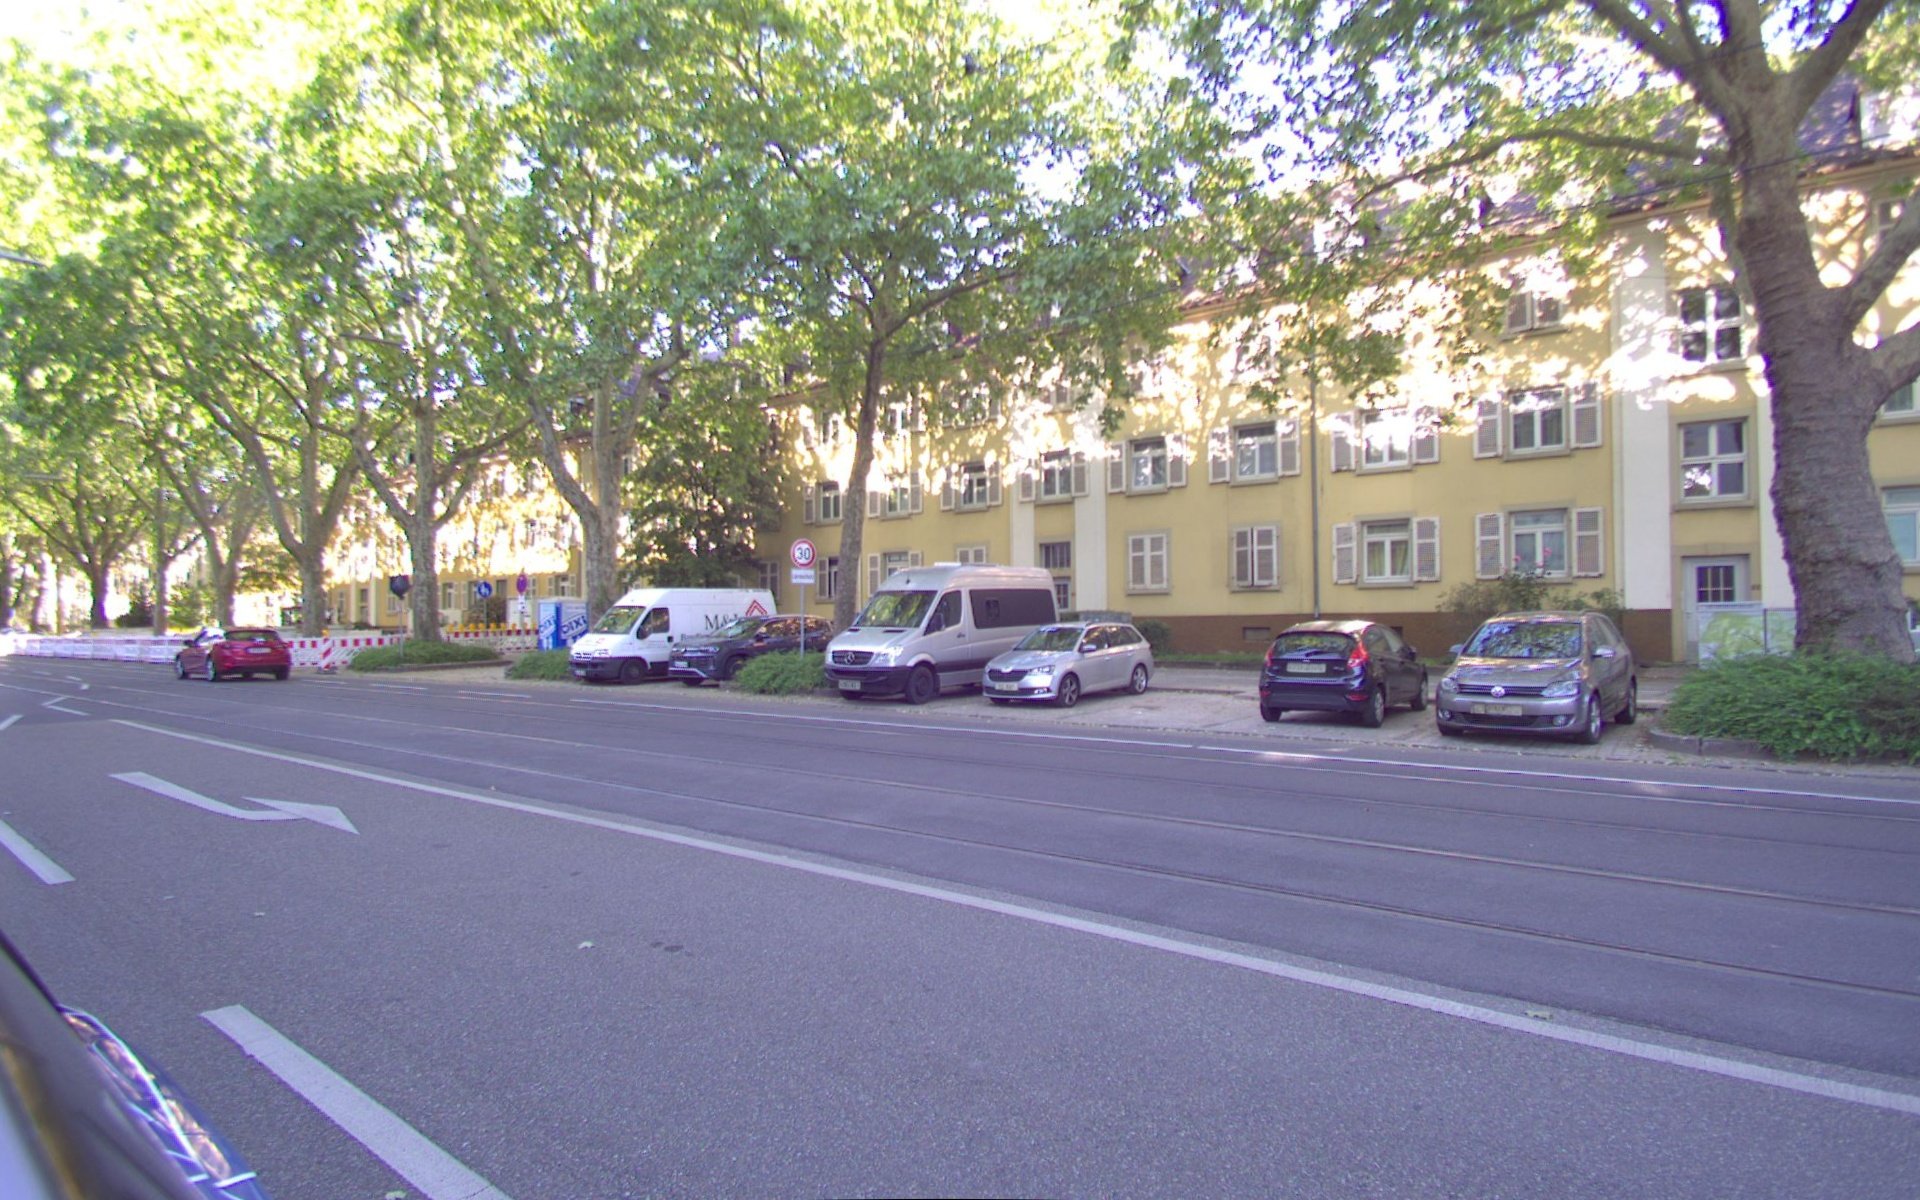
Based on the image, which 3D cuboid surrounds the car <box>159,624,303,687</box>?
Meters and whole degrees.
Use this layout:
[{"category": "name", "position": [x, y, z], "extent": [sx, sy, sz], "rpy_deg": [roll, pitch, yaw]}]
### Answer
[{"category": "car", "position": [-20.105, 1.491, 27.861], "extent": [4.484, 1.577, 1.997], "rpy_deg": [-2, -2, 37]}]

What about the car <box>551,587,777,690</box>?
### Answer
[{"category": "car", "position": [-7.570, 0.967, 26.380], "extent": [2.222, 2.394, 5.336], "rpy_deg": [-2, -2, 40]}]

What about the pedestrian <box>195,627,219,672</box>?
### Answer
[{"category": "pedestrian", "position": [-30.035, 1.956, 40.361], "extent": [0.583, 1.759, 0.643], "rpy_deg": [-1, 0, 41]}]

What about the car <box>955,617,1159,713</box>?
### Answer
[{"category": "car", "position": [1.903, 1.123, 18.841], "extent": [1.773, 1.509, 4.031], "rpy_deg": [-2, -1, 41]}]

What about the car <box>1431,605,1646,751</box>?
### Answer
[{"category": "car", "position": [7.734, 0.900, 13.372], "extent": [1.672, 1.592, 3.928], "rpy_deg": [-2, -1, 42]}]

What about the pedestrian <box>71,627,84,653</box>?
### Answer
[{"category": "pedestrian", "position": [-67.385, 3.055, 77.266], "extent": [0.722, 1.900, 0.666], "rpy_deg": [-1, 0, -42]}]

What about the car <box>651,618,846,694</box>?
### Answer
[{"category": "car", "position": [-4.987, 1.279, 24.453], "extent": [1.772, 1.664, 4.570], "rpy_deg": [-2, -2, 38]}]

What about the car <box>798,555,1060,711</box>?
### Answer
[{"category": "car", "position": [-0.436, 0.611, 20.453], "extent": [2.221, 2.702, 5.596], "rpy_deg": [-2, -1, 38]}]

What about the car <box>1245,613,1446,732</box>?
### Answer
[{"category": "car", "position": [5.957, 1.003, 15.424], "extent": [1.671, 1.509, 3.756], "rpy_deg": [-2, -1, 41]}]
